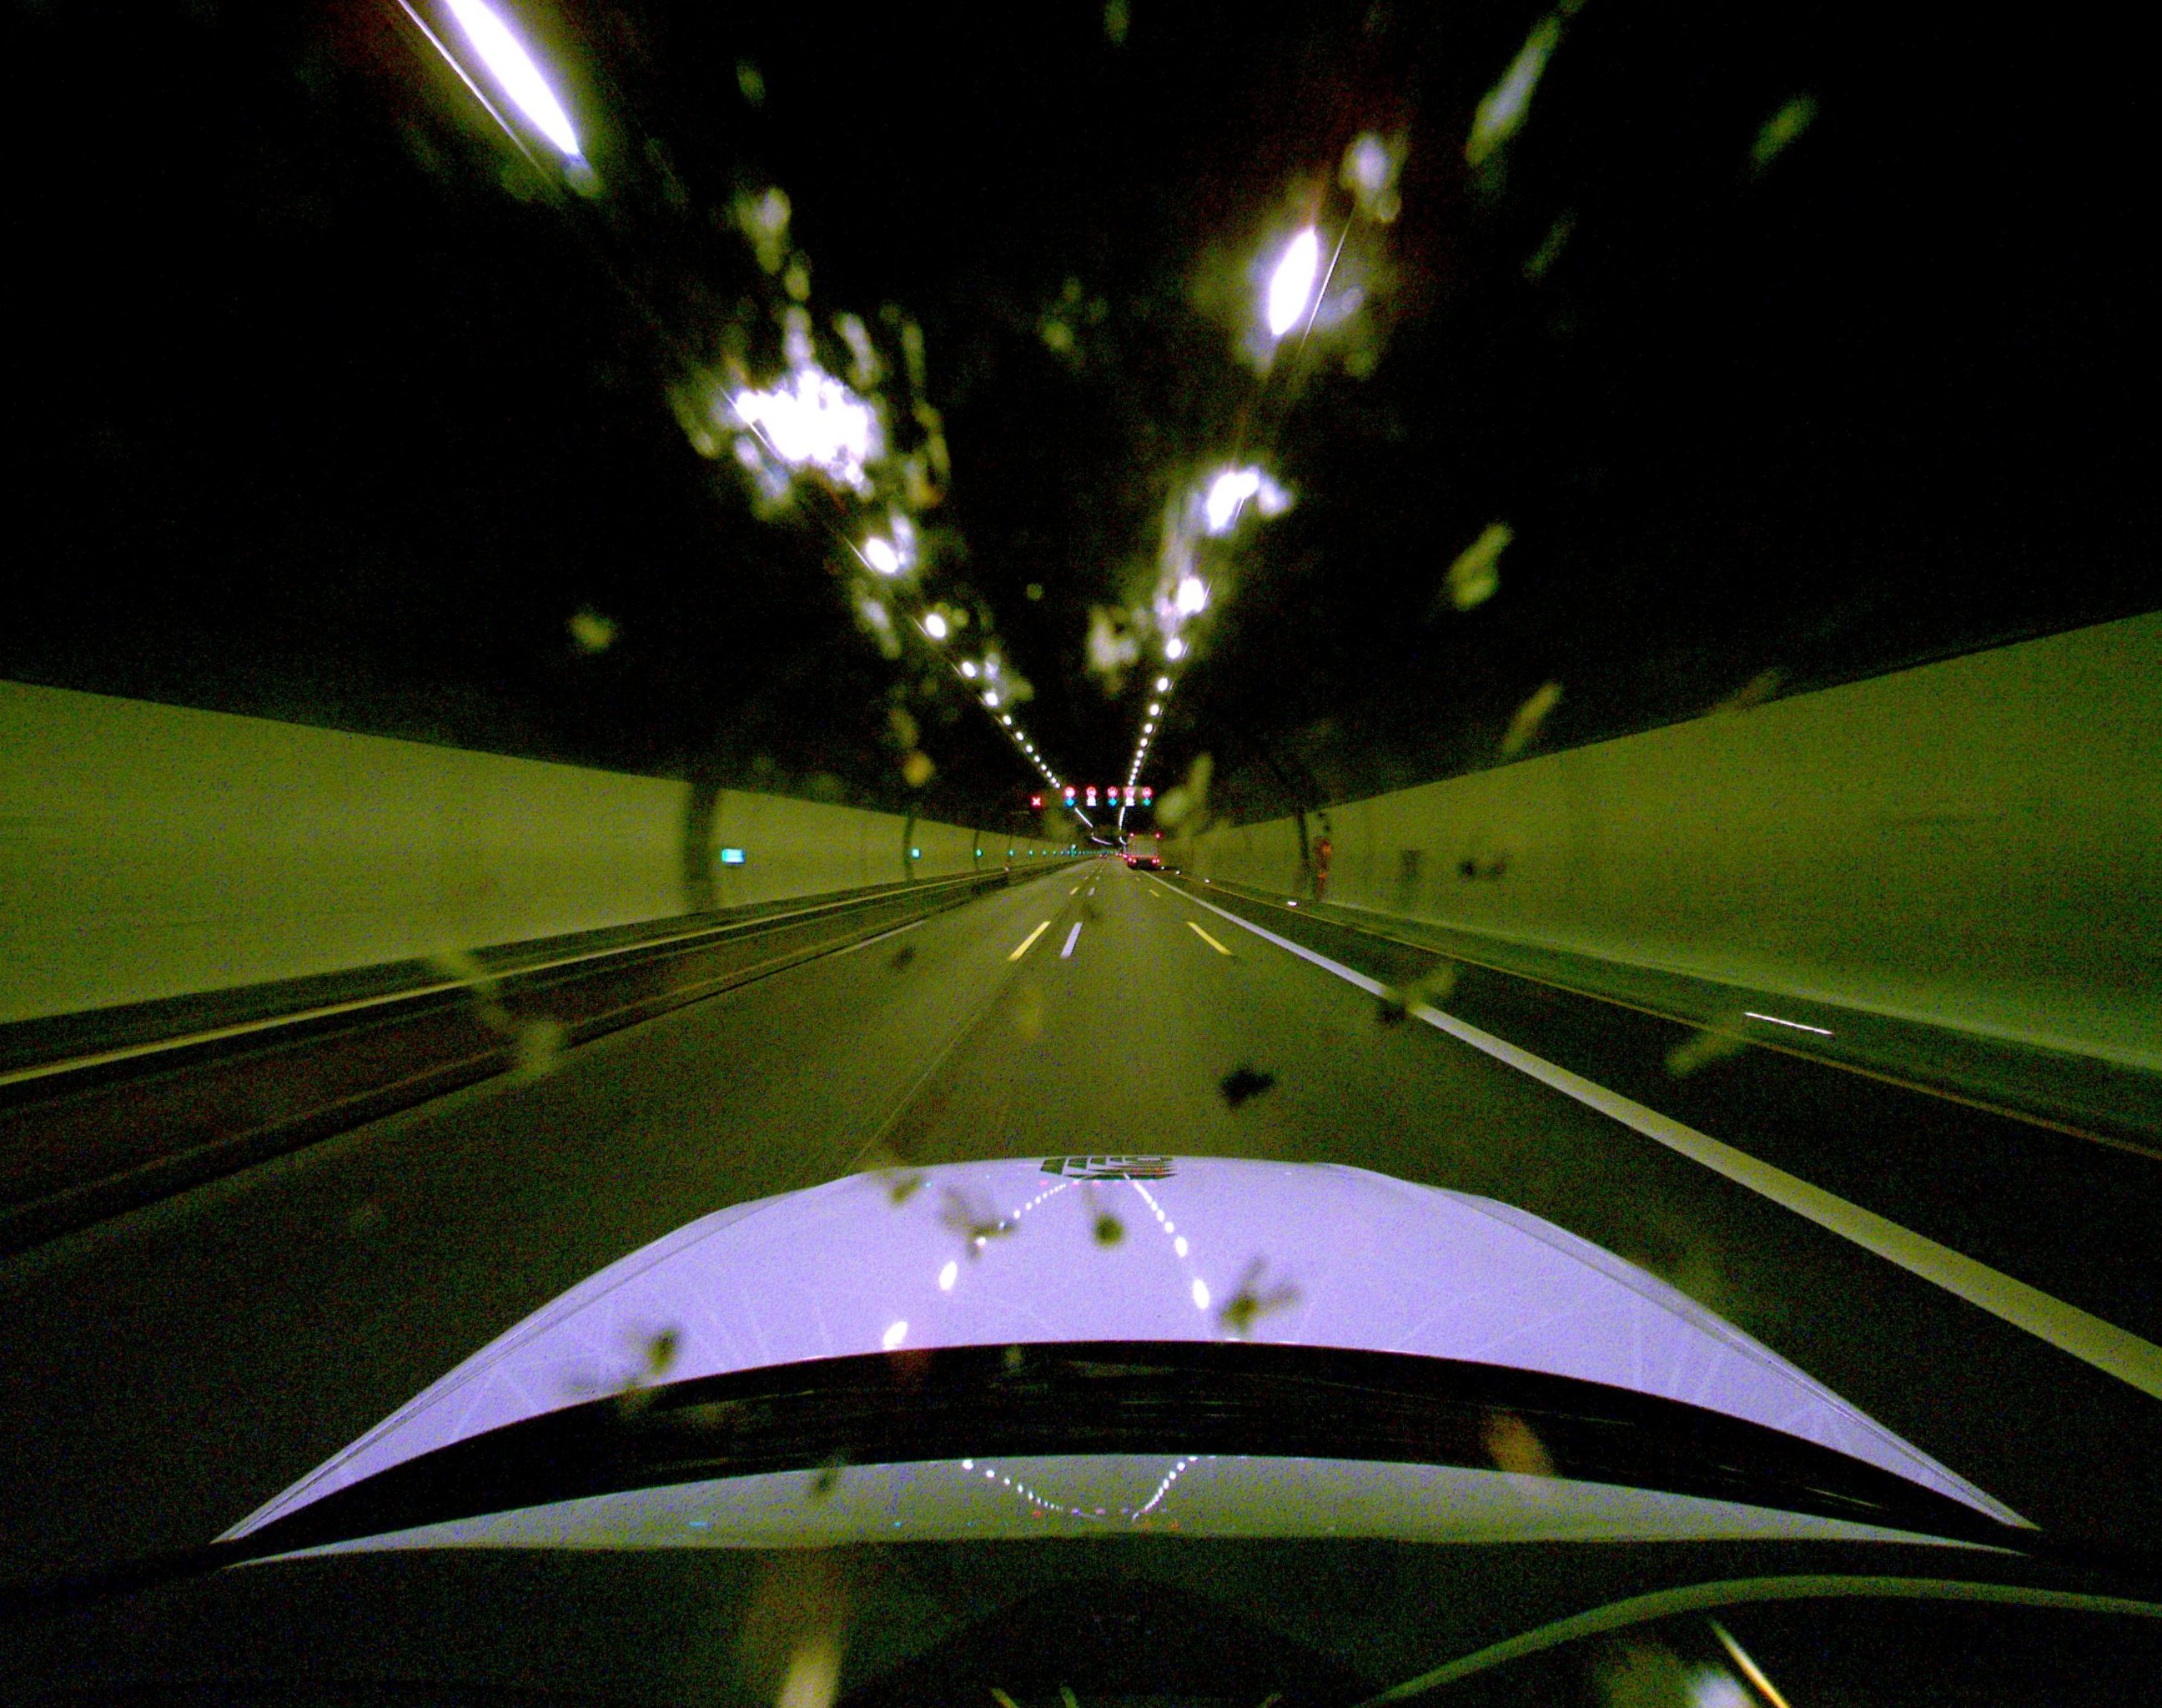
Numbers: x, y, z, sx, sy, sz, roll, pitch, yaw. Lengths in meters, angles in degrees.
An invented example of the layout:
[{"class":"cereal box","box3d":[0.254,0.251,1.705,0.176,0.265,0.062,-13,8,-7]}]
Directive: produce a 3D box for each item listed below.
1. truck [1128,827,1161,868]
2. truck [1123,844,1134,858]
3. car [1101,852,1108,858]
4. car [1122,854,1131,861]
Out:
[{"class":"truck","box3d":[6.360,-0.595,83.256,3.079,3.918,10.374,0,-1,3]},{"class":"truck","box3d":[13.922,-0.942,239.967,3.053,3.918,10.378,0,-1,4]},{"class":"car","box3d":[6.008,0.272,211.823,1.751,1.461,4.122,0,1,3]},{"class":"car","box3d":[9.649,0.666,172.199,1.732,1.461,3.964,0,1,4]}]
